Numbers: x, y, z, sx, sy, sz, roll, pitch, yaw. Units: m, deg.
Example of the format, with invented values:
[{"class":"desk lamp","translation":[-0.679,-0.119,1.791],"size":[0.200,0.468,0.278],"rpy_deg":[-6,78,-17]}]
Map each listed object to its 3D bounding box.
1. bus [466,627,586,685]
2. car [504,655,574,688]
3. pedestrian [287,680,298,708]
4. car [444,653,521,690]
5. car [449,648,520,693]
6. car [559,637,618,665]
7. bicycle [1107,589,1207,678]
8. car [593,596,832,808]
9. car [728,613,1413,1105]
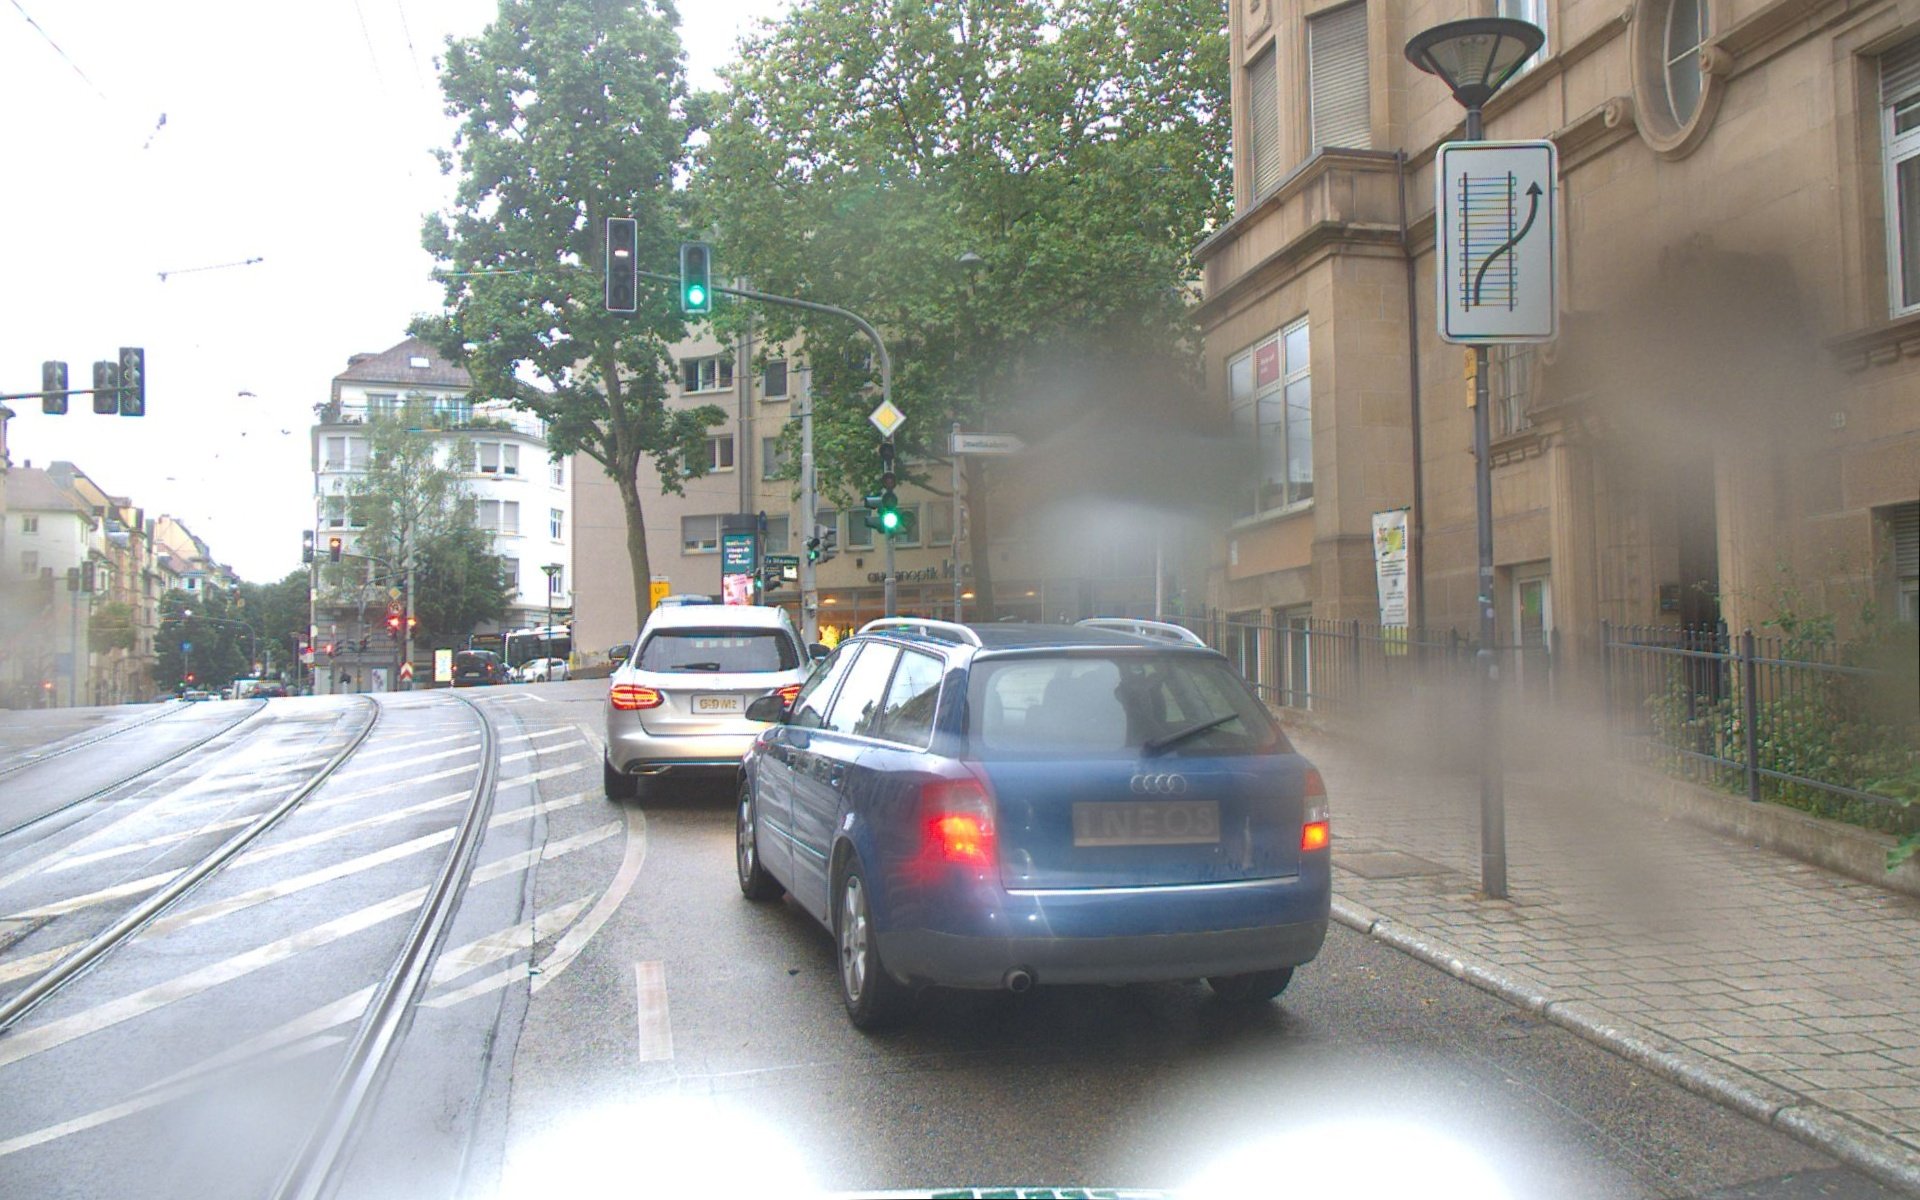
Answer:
[{"class":"bus","translation":[-24.562,3.104,94.154],"size":[2.793,2.911,8.741],"rpy_deg":[-1,0,13]},{"class":"car","translation":[-22.326,3.775,87.909],"size":[1.756,1.536,4.002],"rpy_deg":[-1,0,17]},{"class":"pedestrian","translation":[-42.298,5.942,104.768],"size":[0.639,1.690,0.646],"rpy_deg":[0,-1,-21]},{"class":"car","translation":[-23.778,3.564,82.541],"size":[1.756,1.642,4.002],"rpy_deg":[-1,0,17]},{"class":"car","translation":[-19.398,2.846,67.615],"size":[1.758,1.536,3.999],"rpy_deg":[-3,0,-2]},{"class":"car","translation":[-22.703,3.116,101.286],"size":[1.756,1.536,4.002],"rpy_deg":[-1,0,17]},{"class":"bicycle","translation":[2.829,0.476,23.797],"size":[1.278,1.194,0.524],"rpy_deg":[-3,0,-13]},{"class":"car","translation":[-1.991,0.718,13.537],"size":[1.678,1.481,3.546],"rpy_deg":[0,0,-8]},{"class":"car","translation":[0.137,0.800,7.188],"size":[1.683,1.440,4.017],"rpy_deg":[0,0,-17]}]
